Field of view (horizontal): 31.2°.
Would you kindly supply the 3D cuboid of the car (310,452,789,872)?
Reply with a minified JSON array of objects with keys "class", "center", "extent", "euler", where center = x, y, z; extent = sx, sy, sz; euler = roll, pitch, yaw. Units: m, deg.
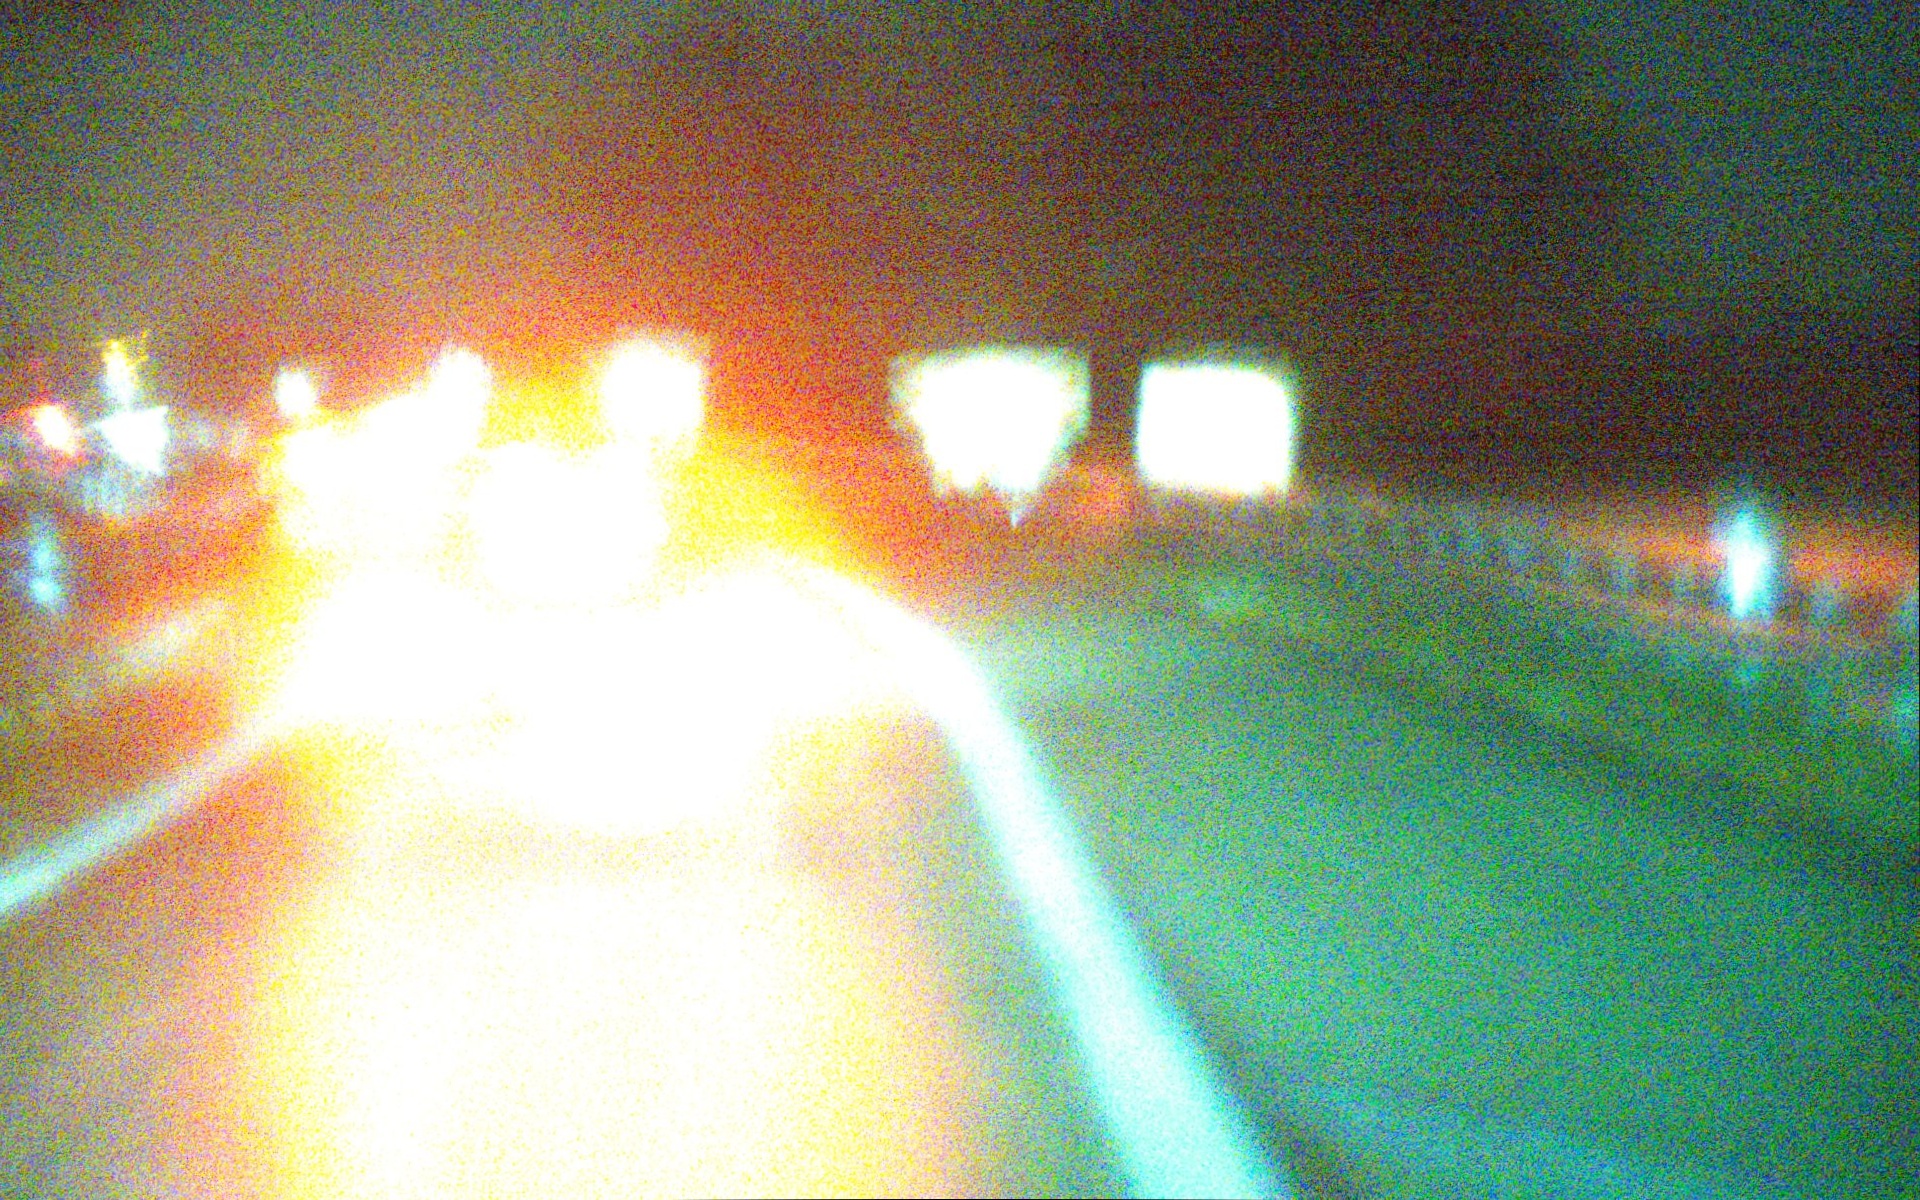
[{"class":"car","center":[-1.825,0.162,15.551],"extent":[1.860,1.641,4.070],"euler":[0,2,-6]}]

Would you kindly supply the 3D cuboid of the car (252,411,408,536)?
[{"class":"car","center":[-10.784,-2.196,58.671],"extent":[1.895,2.033,4.047],"euler":[-1,3,-21]}]

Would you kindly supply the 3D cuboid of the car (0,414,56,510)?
[{"class":"car","center":[-20.782,-2.985,73.560],"extent":[1.895,1.991,4.046],"euler":[-1,3,-28]}]

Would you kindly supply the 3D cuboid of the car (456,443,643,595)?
[{"class":"car","center":[-4.972,-0.998,41.276],"extent":[1.895,1.714,4.047],"euler":[-1,2,-11]}]
